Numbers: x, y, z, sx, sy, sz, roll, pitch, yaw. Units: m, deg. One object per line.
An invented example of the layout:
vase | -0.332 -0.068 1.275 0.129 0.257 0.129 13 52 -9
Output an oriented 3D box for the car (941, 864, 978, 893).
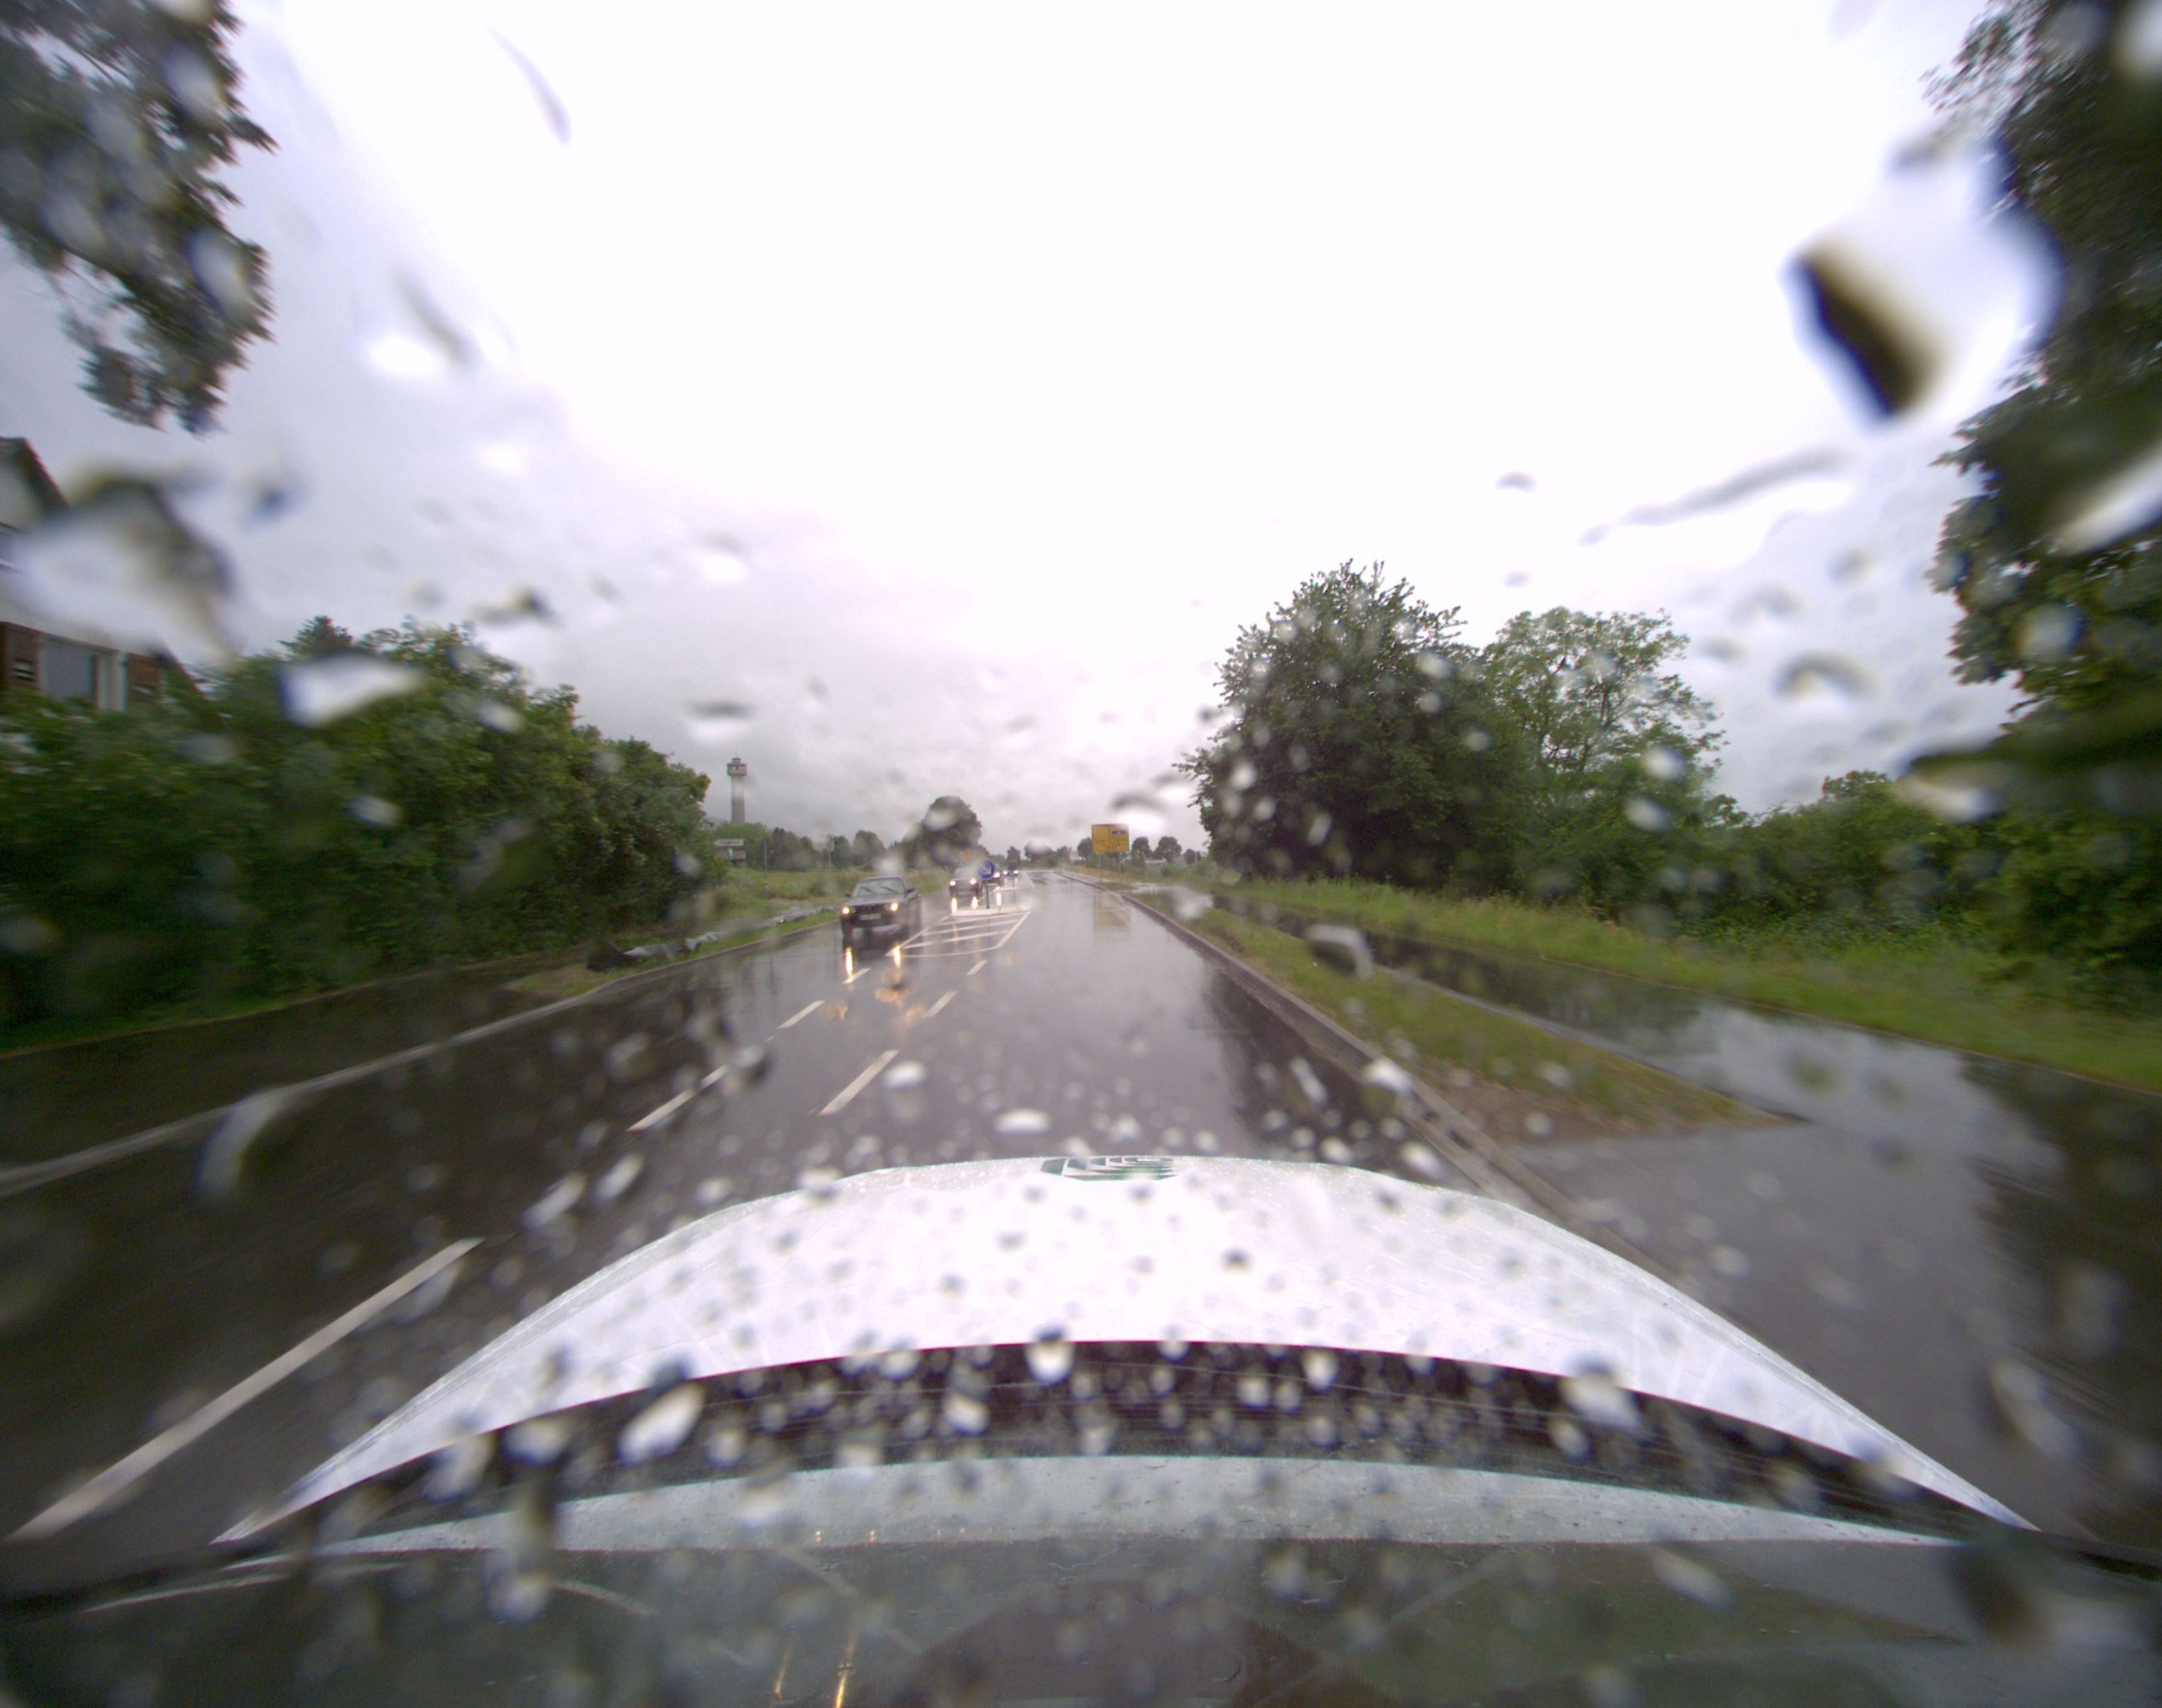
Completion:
car | -6.902 1.360 46.496 1.738 1.445 3.677 -4 0 -4

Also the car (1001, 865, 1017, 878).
car | -8.992 2.164 102.280 1.693 1.402 3.763 -4 0 -2

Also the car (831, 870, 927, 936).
car | -5.150 1.200 21.321 1.680 1.382 4.217 -4 0 -5

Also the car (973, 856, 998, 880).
car | -7.527 1.079 64.608 1.739 1.718 4.259 -4 0 -5
